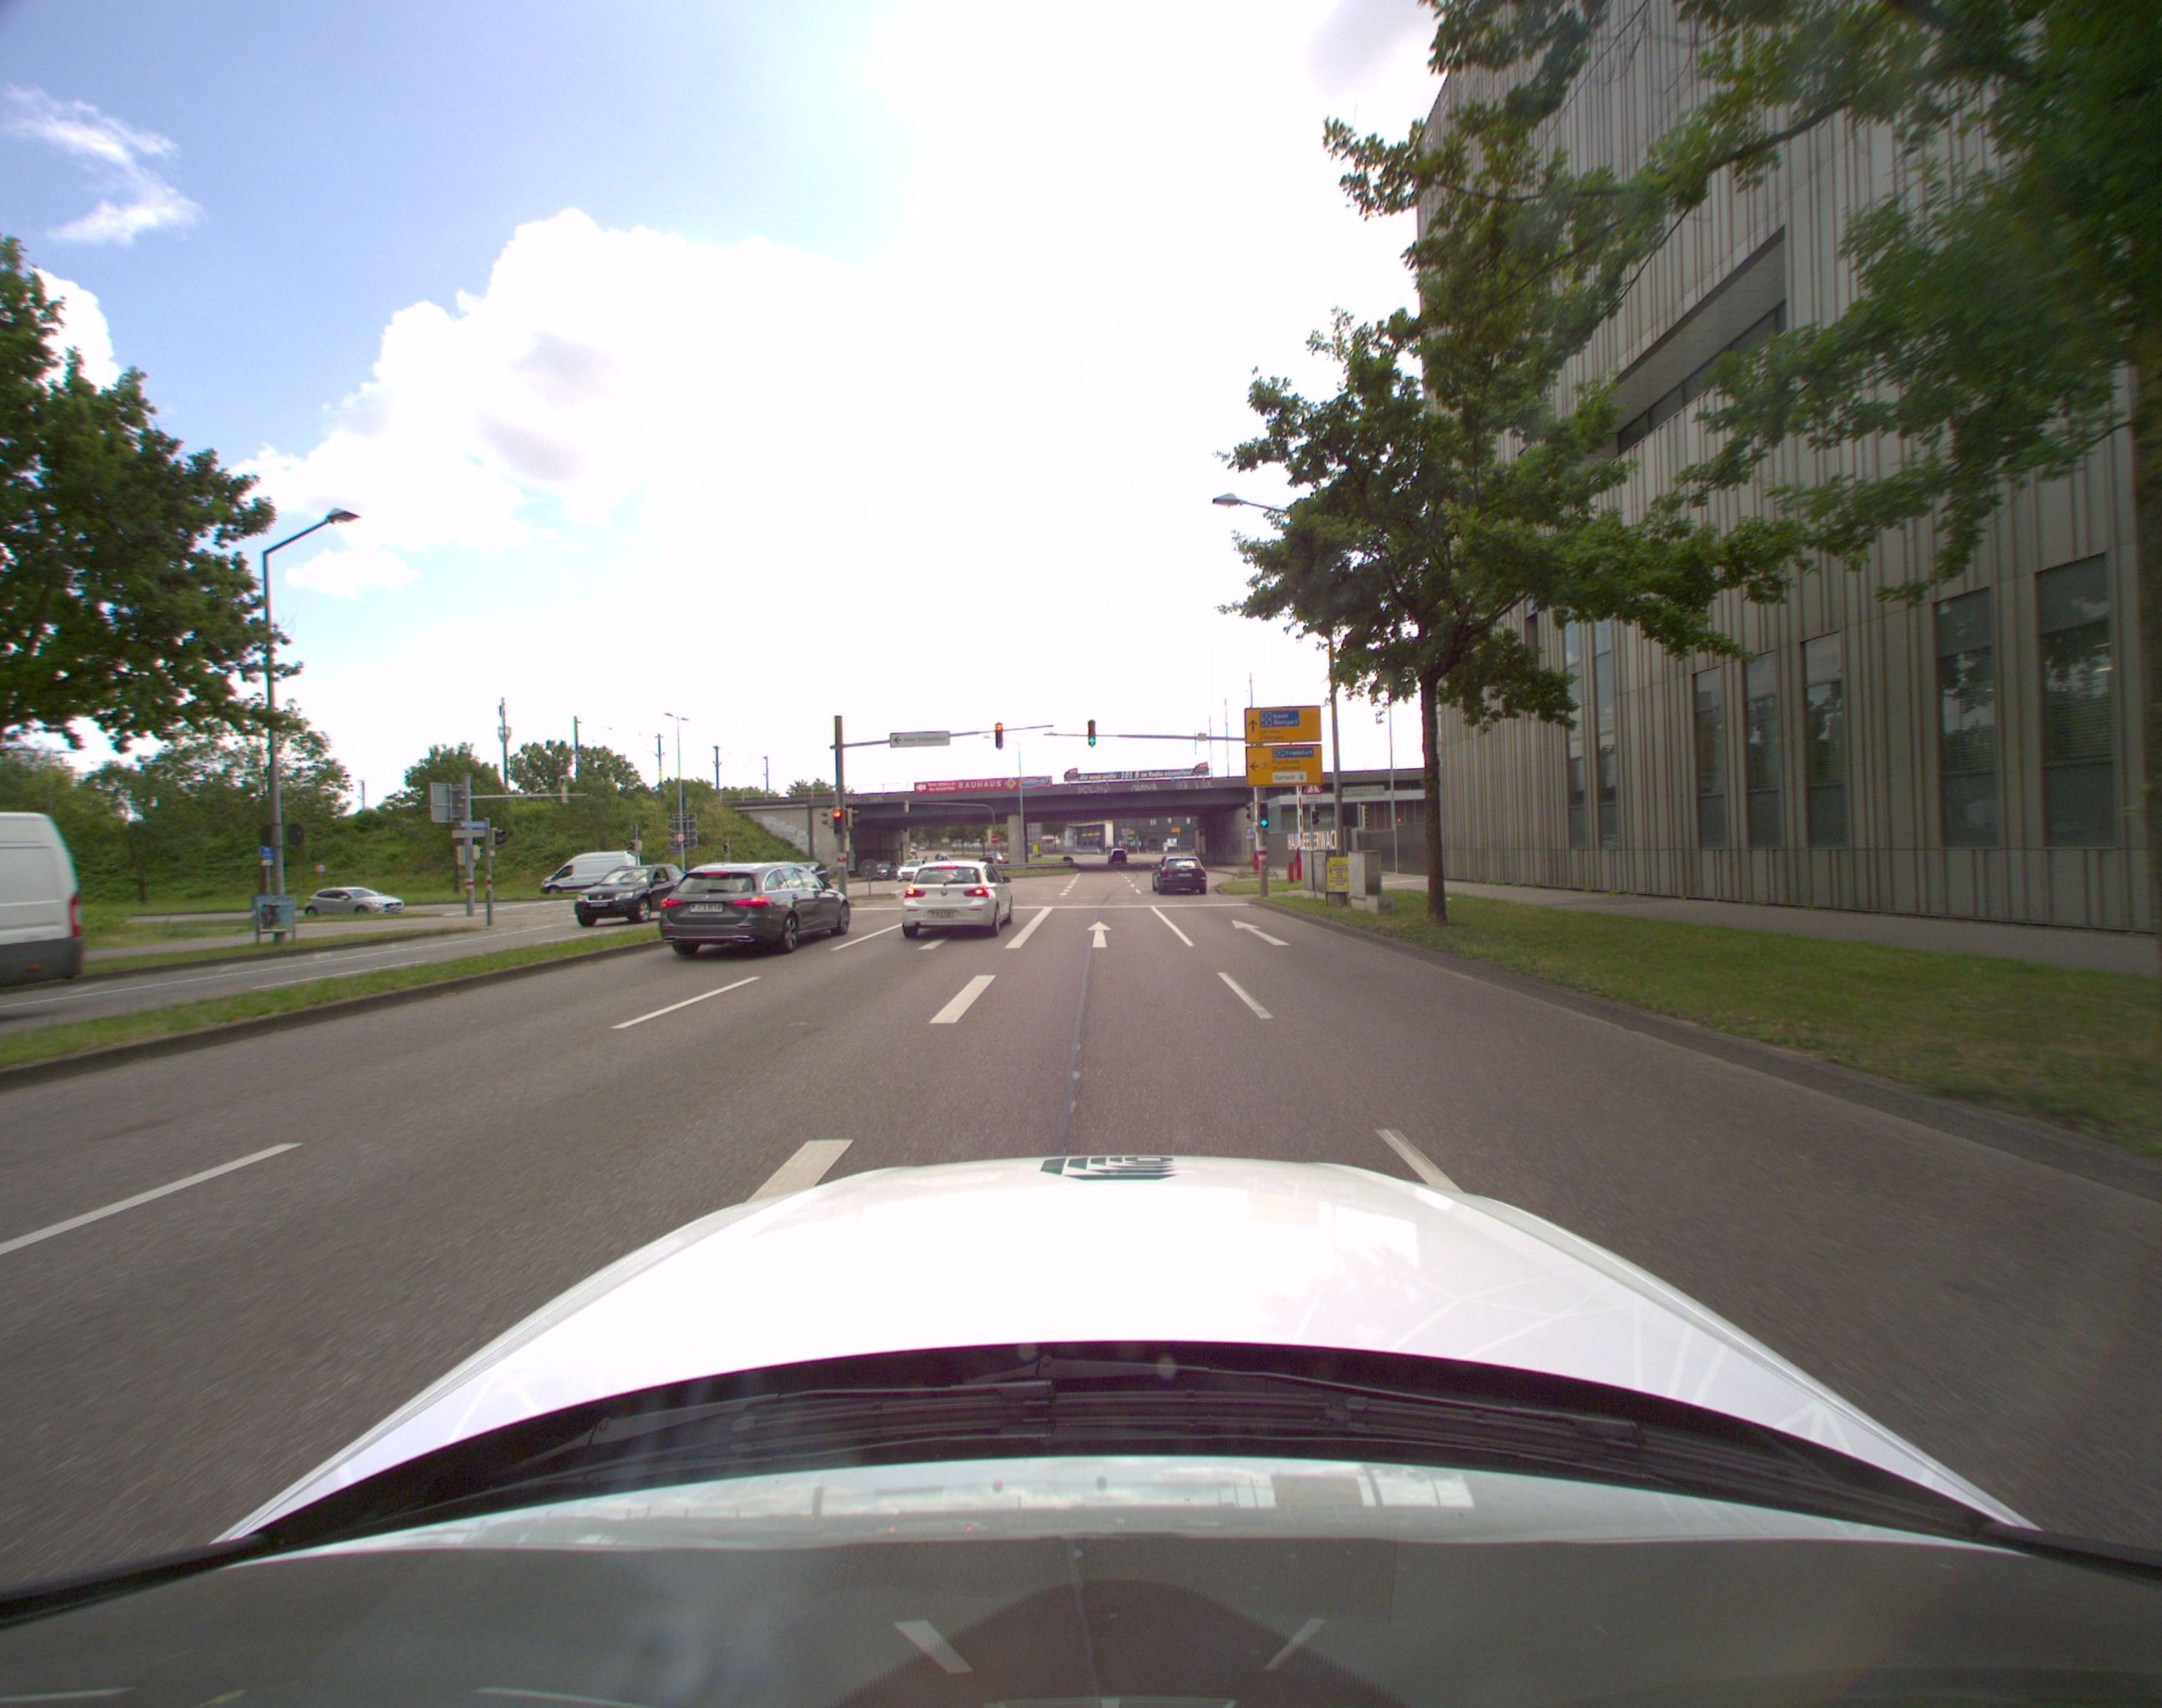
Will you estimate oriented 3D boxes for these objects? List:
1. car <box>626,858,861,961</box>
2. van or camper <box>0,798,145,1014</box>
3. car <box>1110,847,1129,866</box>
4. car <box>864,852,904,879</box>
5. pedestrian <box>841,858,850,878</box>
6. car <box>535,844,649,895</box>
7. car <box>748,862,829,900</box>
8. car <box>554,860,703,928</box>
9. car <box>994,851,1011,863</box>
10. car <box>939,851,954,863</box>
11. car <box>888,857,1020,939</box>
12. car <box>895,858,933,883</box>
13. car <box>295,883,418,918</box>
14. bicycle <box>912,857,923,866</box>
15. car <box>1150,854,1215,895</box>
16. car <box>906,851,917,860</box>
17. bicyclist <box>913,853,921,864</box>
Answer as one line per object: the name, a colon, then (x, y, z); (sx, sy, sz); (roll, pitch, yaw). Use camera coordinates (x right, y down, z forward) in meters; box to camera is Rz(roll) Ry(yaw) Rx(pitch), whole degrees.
car: (-5.555, 0.823, 14.239); (1.986, 1.415, 4.833); (-1, 0, 1)
van or camper: (-13.883, 0.639, 7.474); (2.344, 2.539, 7.063); (-1, 0, 0)
car: (4.412, 0.239, 93.697); (1.986, 2.037, 4.714); (-2, 0, 2)
car: (-15.766, 0.873, 65.344); (1.985, 2.013, 4.004); (-2, 0, 3)
pedestrian: (-20.183, 1.195, 69.757); (0.589, 1.681, 0.555); (-2, 0, -1)
car: (-30.115, 0.936, 50.318); (5.393, 2.822, 2.381); (-2, 0, -7)
car: (-13.127, 1.189, 36.857); (1.917, 1.529, 4.005); (-1, 0, 4)
car: (-13.392, 1.111, 24.440); (1.987, 1.766, 4.220); (-2, 0, 0)
car: (-11.411, 0.427, 119.262); (1.987, 1.759, 4.715); (-2, 0, -1)
car: (-25.036, 0.542, 151.313); (1.987, 2.013, 4.336); (-2, 0, 0)
car: (-2.433, 0.791, 16.690); (1.908, 1.415, 4.296); (1, 0, 1)
car: (-12.345, 1.199, 60.379); (1.799, 1.632, 4.393); (-2, 0, 1)
car: (-34.688, 2.218, 39.054); (4.285, 1.379, 2.004); (-2, 0, 7)
bicycle: (-21.791, 0.955, 108.278); (0.676, 1.142, 2.289); (-1, 0, 9)
car: (3.811, 0.721, 31.317); (1.986, 1.390, 4.577); (-1, 1, 1)
car: (-37.448, 0.314, 179.527); (1.998, 2.013, 4.312); (-2, 0, -16)
bicyclist: (-21.808, 0.556, 108.202); (0.677, 1.408, 0.927); (-1, -1, 8)
